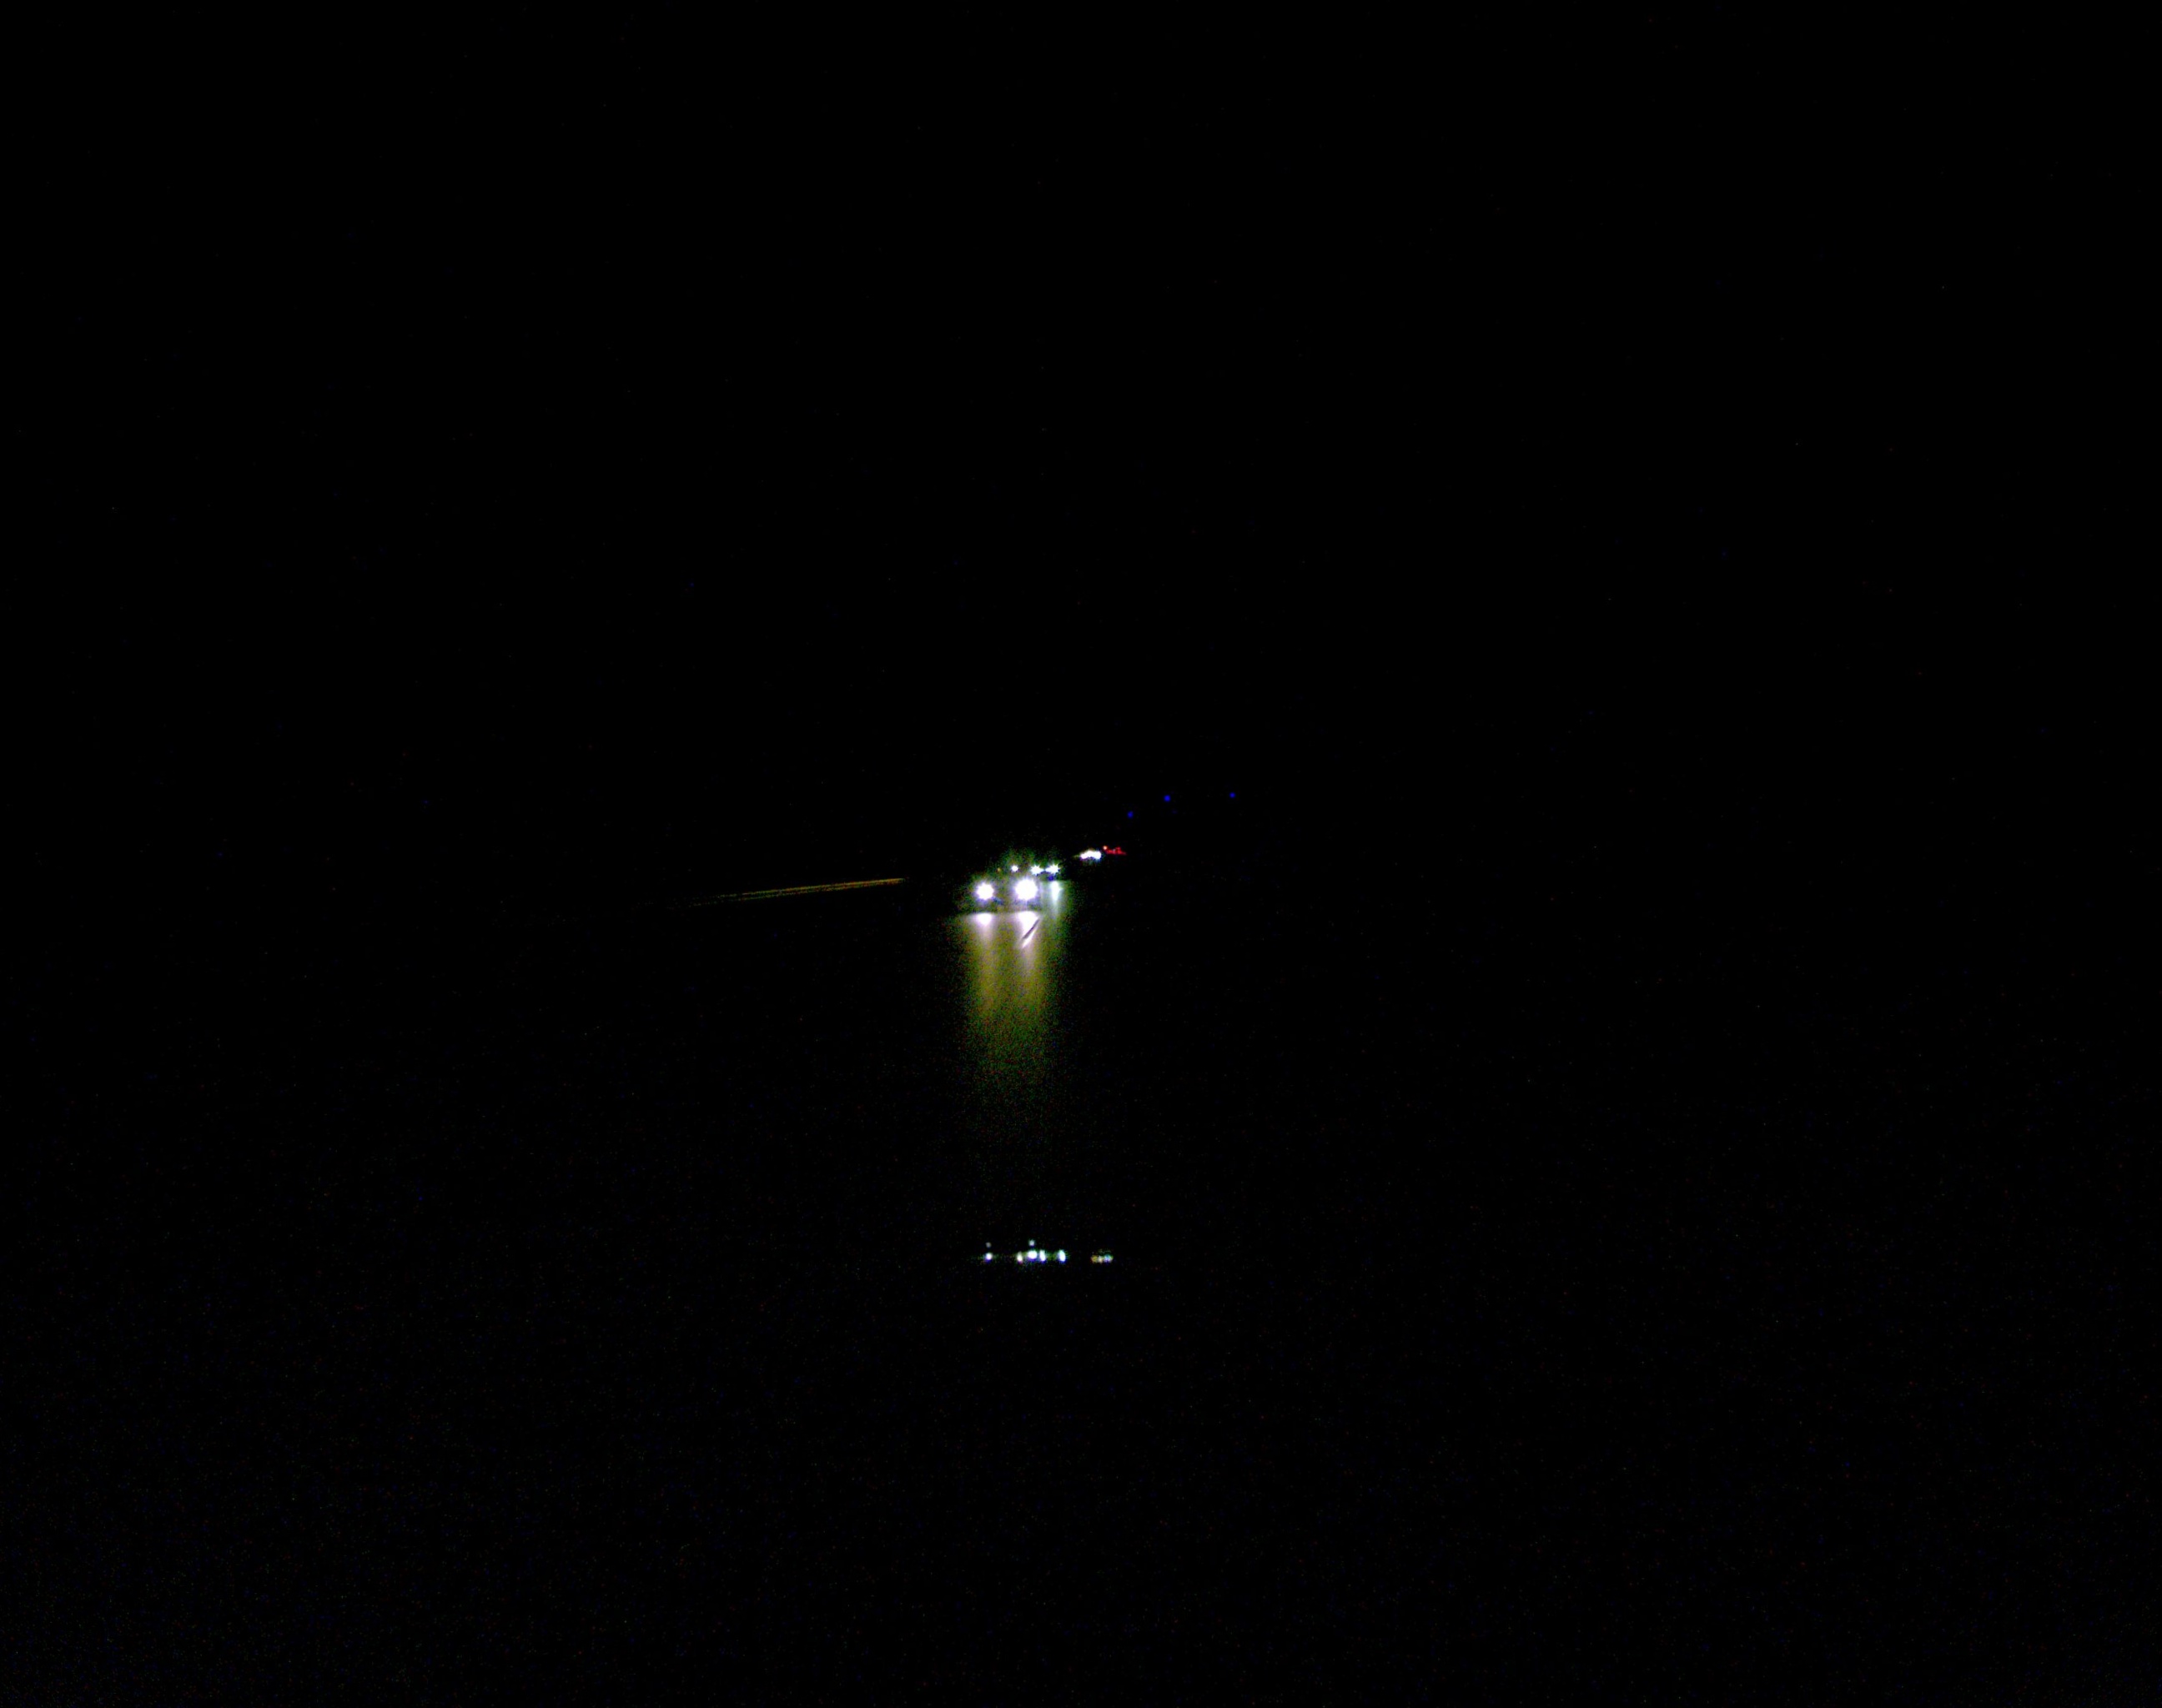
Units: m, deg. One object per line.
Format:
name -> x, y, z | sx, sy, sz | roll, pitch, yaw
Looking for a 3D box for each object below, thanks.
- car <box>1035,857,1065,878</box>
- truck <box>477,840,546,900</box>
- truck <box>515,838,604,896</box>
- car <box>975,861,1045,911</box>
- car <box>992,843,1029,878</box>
car -> -2.298, 0.992, 57.000 | 1.998, 1.455, 4.000 | -2, 0, 1
truck -> -37.451, 1.048, 49.874 | 6.193, 3.628, 2.538 | -2, 1, 44
truck -> -38.967, 0.977, 56.596 | 9.636, 3.902, 3.066 | -2, 1, 42
car -> -2.256, 0.997, 25.041 | 1.833, 1.404, 4.000 | -2, 0, 1
car -> -6.202, 0.564, 67.439 | 2.534, 2.888, 6.227 | -2, 0, 1
